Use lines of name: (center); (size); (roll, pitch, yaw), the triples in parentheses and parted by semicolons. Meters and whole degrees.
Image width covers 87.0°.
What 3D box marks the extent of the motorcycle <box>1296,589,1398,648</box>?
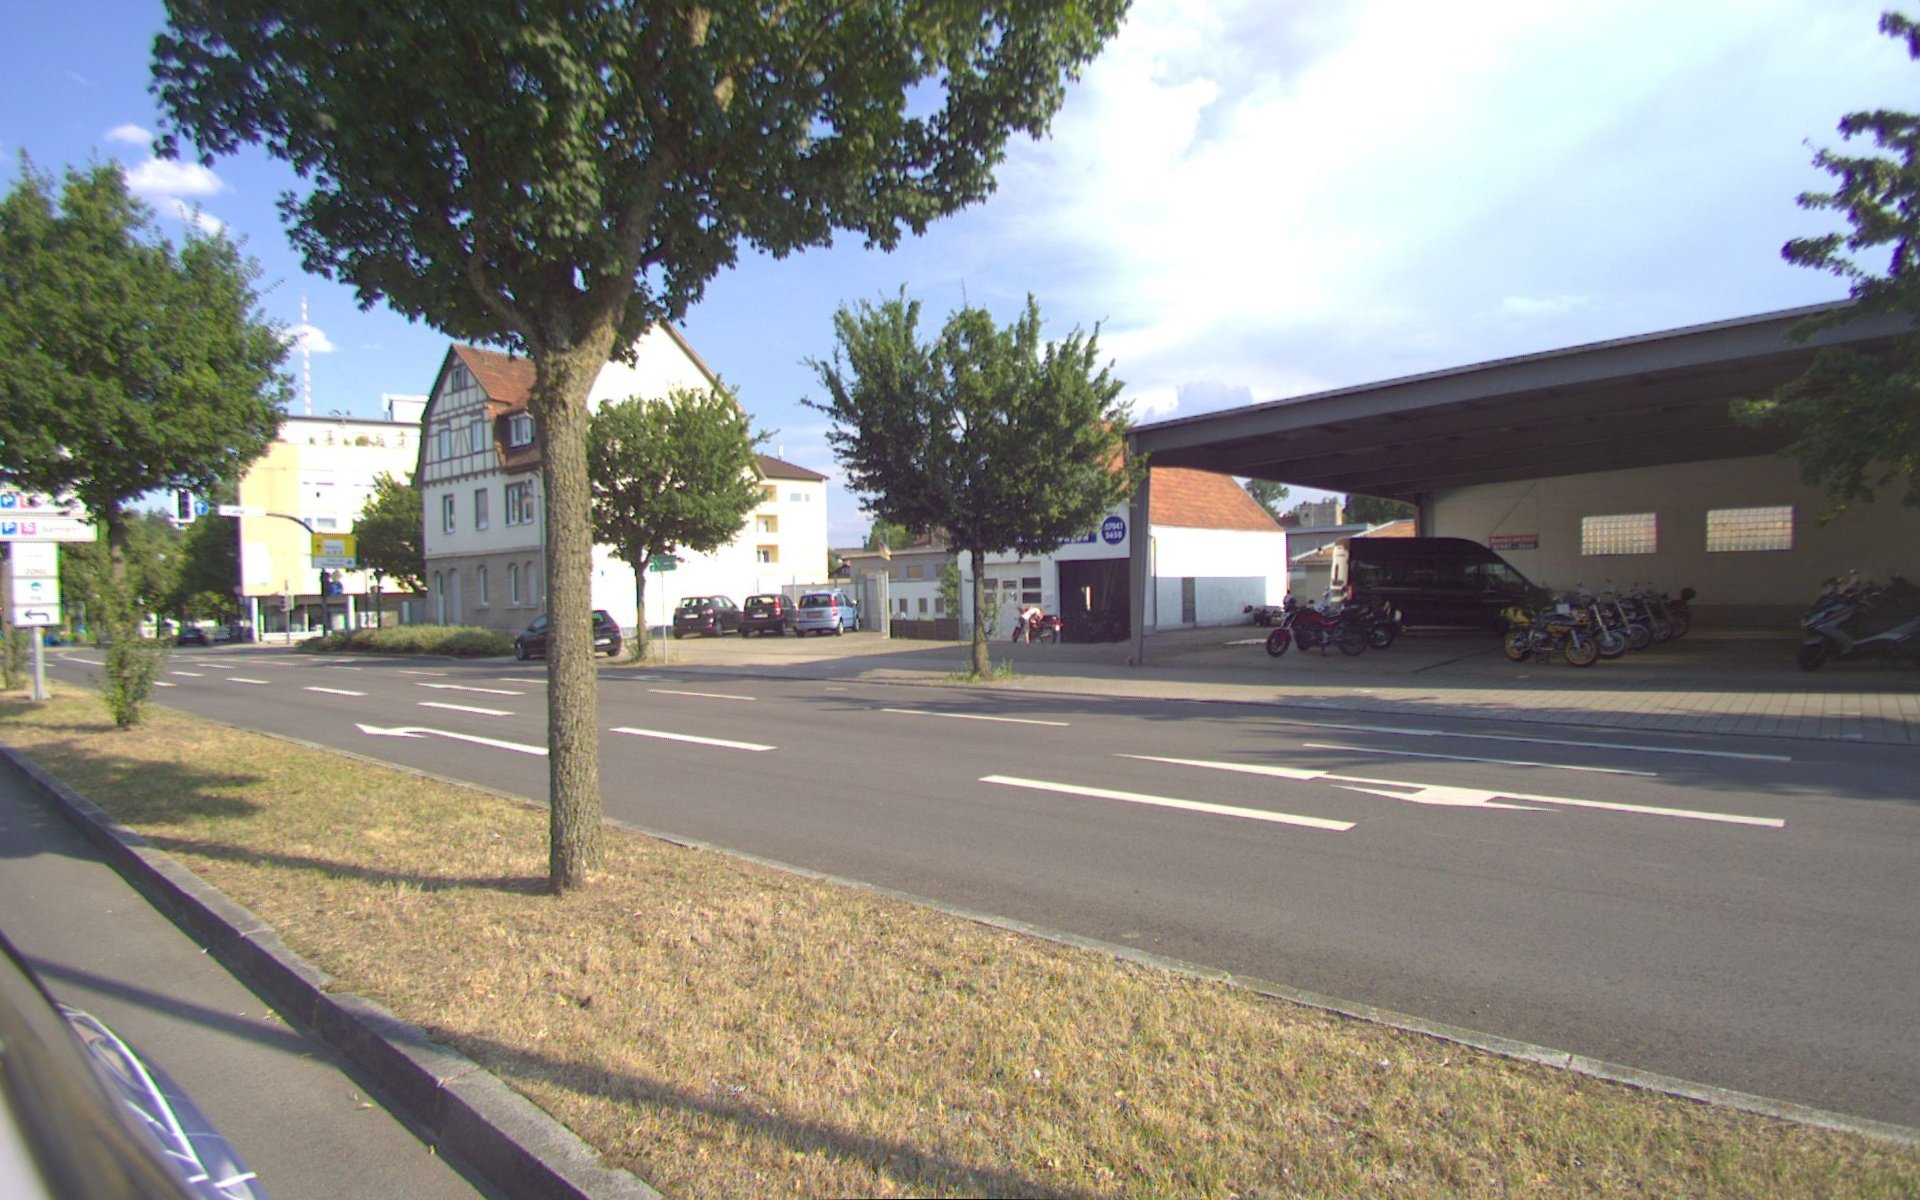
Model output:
motorcycle: (9.389, 0.453, 24.607); (2.198, 1.372, 0.630); (-1, 0, 5)

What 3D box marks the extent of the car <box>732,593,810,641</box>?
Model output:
car: (-6.911, 0.589, 37.307); (1.797, 1.512, 3.819); (-3, 2, 5)

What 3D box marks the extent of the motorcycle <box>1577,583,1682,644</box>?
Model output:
motorcycle: (15.547, 0.302, 23.579); (0.621, 1.347, 2.269); (-1, 0, -9)

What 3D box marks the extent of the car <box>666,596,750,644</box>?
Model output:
car: (-9.312, 0.694, 37.699); (1.797, 1.512, 3.819); (-3, 2, 5)

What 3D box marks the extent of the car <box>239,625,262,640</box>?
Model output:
car: (-88.094, 4.034, 125.679); (1.752, 1.706, 4.013); (-1, 0, -26)

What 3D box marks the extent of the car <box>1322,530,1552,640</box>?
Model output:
car: (12.876, -0.378, 27.628); (5.221, 2.773, 1.996); (-1, 0, 7)

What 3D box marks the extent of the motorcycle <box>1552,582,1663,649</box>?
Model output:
motorcycle: (13.874, 0.324, 21.769); (0.621, 1.347, 2.269); (-1, 0, -9)

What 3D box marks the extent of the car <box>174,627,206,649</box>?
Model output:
car: (-63.782, 3.141, 83.887); (1.753, 1.706, 4.011); (-1, 0, -32)

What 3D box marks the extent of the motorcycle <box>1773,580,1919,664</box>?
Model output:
motorcycle: (14.923, 0.362, 16.776); (2.103, 1.306, 0.628); (-3, -1, 17)

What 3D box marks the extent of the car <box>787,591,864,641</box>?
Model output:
car: (-4.672, 0.523, 35.677); (1.797, 1.512, 3.819); (-3, 2, 5)

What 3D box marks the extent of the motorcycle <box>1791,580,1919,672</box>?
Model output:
motorcycle: (13.871, 0.376, 15.115); (2.103, 1.306, 0.628); (-3, -1, 17)

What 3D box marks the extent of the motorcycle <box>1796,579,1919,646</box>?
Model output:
motorcycle: (19.044, 0.256, 21.289); (2.103, 1.306, 0.628); (-3, -1, 17)

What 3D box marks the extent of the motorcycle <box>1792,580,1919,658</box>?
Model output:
motorcycle: (16.541, 0.340, 18.348); (2.103, 1.306, 0.628); (-3, -1, 17)

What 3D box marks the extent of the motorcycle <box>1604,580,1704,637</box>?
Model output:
motorcycle: (17.301, 0.219, 25.303); (0.621, 1.347, 2.269); (-1, 0, -9)

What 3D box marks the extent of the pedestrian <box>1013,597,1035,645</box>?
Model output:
pedestrian: (2.082, 0.677, 32.764); (0.485, 1.530, 0.496); (-1, 0, 41)

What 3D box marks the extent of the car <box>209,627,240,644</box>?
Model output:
car: (-79.788, 3.781, 109.789); (1.752, 1.706, 4.013); (-1, 0, -21)

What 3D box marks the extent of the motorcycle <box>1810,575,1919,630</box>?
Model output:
motorcycle: (23.744, 0.071, 26.521); (2.103, 1.306, 0.628); (-3, -1, 17)

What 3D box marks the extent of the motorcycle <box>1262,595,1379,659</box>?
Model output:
motorcycle: (7.507, 0.563, 21.160); (2.202, 1.290, 0.629); (-1, 0, 11)

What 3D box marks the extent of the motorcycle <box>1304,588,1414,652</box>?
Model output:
motorcycle: (8.966, 0.451, 22.804); (2.198, 1.372, 0.630); (-1, 0, 5)

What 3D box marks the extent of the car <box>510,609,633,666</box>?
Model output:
car: (-11.590, 1.085, 30.076); (3.823, 1.462, 1.795); (-1, 2, 42)

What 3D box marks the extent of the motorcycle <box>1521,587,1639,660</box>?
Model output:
motorcycle: (12.168, 0.438, 19.956); (0.621, 1.347, 2.269); (-1, 0, -9)

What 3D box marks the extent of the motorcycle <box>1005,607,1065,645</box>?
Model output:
motorcycle: (2.444, 0.840, 33.210); (1.974, 1.194, 0.577); (-1, 0, 41)

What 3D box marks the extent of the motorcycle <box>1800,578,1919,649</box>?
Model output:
motorcycle: (18.055, 0.269, 19.988); (2.103, 1.306, 0.628); (-3, -1, 17)

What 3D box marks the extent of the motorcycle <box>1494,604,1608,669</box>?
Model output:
motorcycle: (10.541, 0.620, 18.151); (0.621, 1.095, 2.038); (-1, 0, -7)

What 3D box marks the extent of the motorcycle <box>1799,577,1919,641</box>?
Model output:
motorcycle: (20.238, 0.206, 22.644); (2.103, 1.306, 0.628); (-3, -1, 17)
